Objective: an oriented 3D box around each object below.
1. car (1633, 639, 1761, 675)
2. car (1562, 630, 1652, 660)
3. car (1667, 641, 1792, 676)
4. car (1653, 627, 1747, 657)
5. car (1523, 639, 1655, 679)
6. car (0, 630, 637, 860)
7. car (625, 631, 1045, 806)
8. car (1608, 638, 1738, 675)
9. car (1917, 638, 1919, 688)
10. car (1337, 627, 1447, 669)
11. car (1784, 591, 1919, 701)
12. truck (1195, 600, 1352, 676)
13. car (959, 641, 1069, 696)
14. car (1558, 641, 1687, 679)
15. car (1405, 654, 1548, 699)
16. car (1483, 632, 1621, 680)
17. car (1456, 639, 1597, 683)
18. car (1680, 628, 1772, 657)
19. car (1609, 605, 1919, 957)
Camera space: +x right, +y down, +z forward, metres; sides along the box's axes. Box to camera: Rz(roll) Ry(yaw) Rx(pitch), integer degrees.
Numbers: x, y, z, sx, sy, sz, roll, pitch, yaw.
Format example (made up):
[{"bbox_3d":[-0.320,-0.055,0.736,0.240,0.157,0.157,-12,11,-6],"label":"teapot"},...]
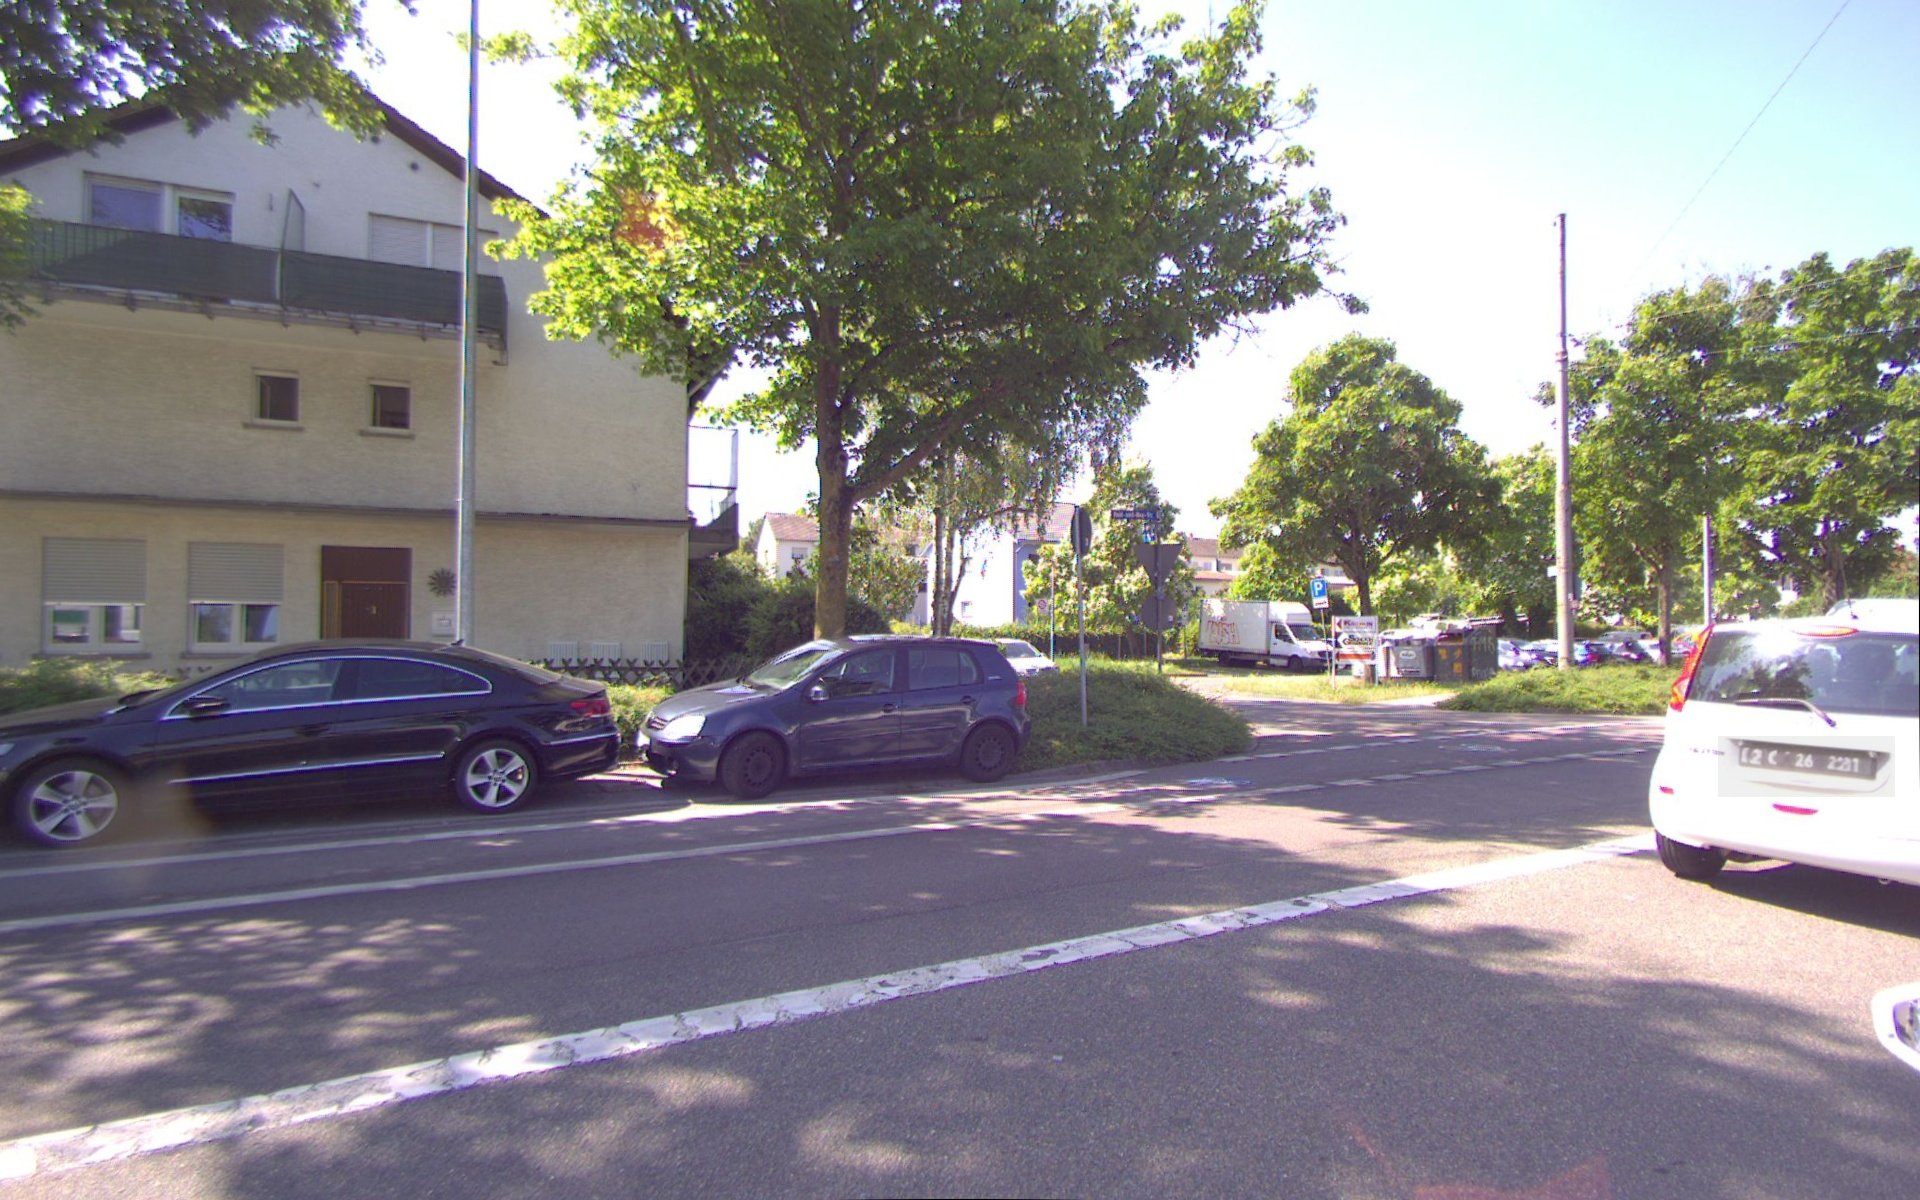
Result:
[{"bbox_3d":[30.758,2.395,42.045,1.712,1.434,3.964,2,-4,-33],"label":"car"},{"bbox_3d":[44.549,3.068,69.250,2.043,1.811,4.762,2,0,-34],"label":"car"},{"bbox_3d":[33.181,2.510,43.414,1.712,1.434,3.964,2,-4,-33],"label":"car"},{"bbox_3d":[50.510,2.856,68.622,2.043,1.811,4.762,2,0,-34],"label":"car"},{"bbox_3d":[24.128,2.265,38.640,1.712,1.434,3.964,2,-4,-33],"label":"car"},{"bbox_3d":[-5.239,1.021,8.356,4.568,1.434,1.854,1,0,-31],"label":"car"},{"bbox_3d":[-1.271,1.100,10.462,3.988,1.462,1.718,1,0,-28],"label":"car"},{"bbox_3d":[28.847,2.303,40.746,1.712,1.434,3.964,2,-4,-33],"label":"car"},{"bbox_3d":[29.378,1.838,28.706,4.230,1.434,1.854,1,0,-31],"label":"car"},{"bbox_3d":[21.708,2.380,50.672,2.043,1.811,4.762,2,0,-34],"label":"car"},{"bbox_3d":[23.805,1.122,25.740,5.745,2.550,2.114,1,0,-29],"label":"car"},{"bbox_3d":[14.437,1.664,46.809,2.646,3.151,6.967,1,0,-30],"label":"truck"},{"bbox_3d":[1.443,1.918,28.429,1.704,1.434,3.983,1,-3,-20],"label":"car"},{"bbox_3d":[26.354,2.387,40.081,1.712,1.434,3.964,2,-4,-33],"label":"car"},{"bbox_3d":[17.336,2.537,33.868,1.712,1.434,3.964,2,-4,-33],"label":"car"},{"bbox_3d":[21.429,2.023,36.475,1.712,1.631,3.964,2,-4,-33],"label":"car"},{"bbox_3d":[19.709,2.125,35.090,1.712,1.434,3.964,2,-4,-33],"label":"car"},{"bbox_3d":[54.457,2.993,71.493,2.043,1.811,4.762,2,0,-34],"label":"car"},{"bbox_3d":[5.998,0.853,6.018,4.491,1.568,1.655,1,-1,-29],"label":"car"}]
